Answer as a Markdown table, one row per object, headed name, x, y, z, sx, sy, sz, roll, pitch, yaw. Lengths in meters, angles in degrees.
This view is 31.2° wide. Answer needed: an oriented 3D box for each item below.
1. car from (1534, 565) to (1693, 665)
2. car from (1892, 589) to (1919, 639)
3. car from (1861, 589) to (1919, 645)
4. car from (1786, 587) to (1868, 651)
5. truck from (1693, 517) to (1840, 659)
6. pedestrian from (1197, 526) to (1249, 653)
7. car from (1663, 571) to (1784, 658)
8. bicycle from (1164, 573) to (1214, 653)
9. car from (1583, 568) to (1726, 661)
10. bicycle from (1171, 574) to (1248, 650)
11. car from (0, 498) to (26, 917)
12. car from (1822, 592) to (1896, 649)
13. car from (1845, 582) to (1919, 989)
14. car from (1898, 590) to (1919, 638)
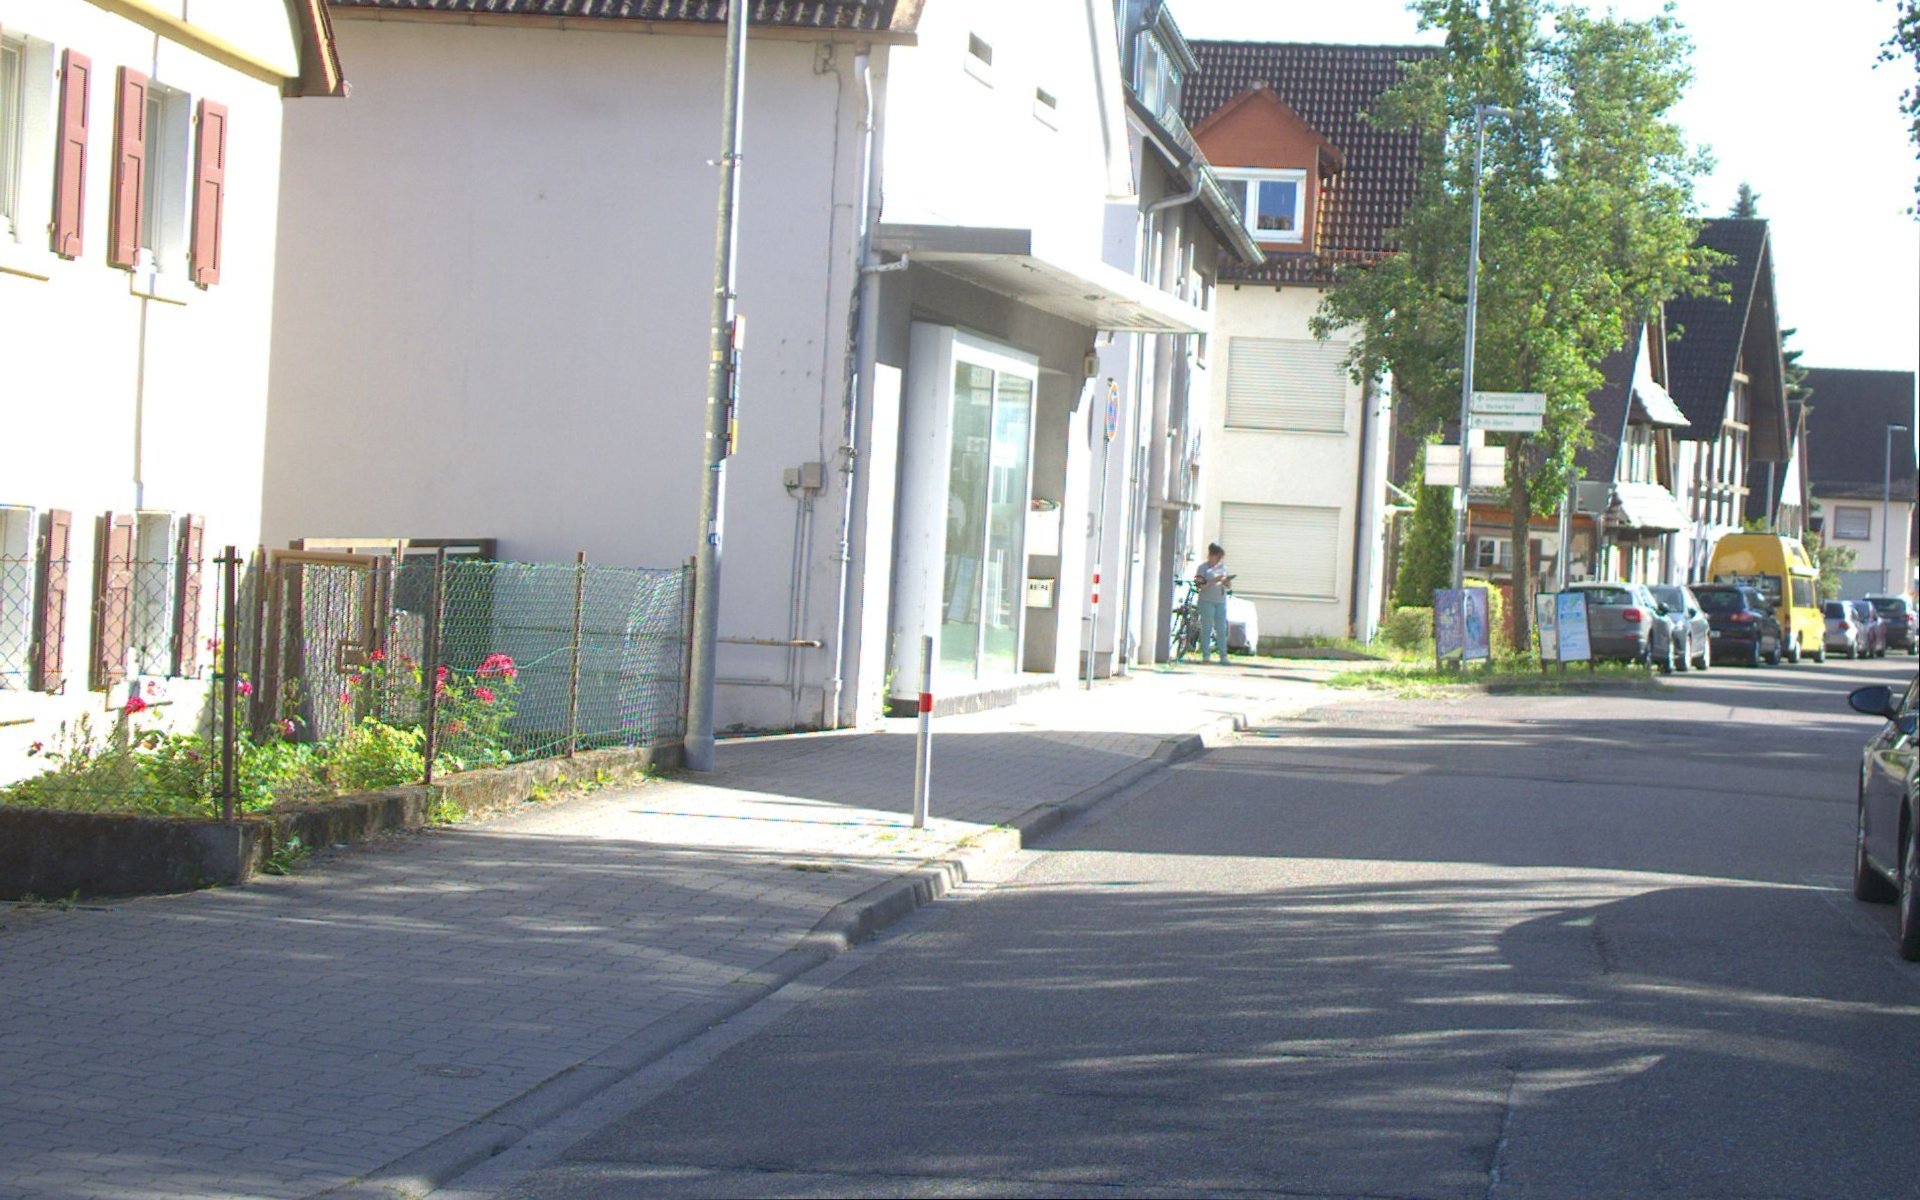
| name | x | y | z | sx | sy | sz | roll | pitch | yaw |
| --- | --- | --- | --- | --- | --- | --- | --- | --- | --- |
| car | 10.921 | 0.257 | 57.235 | 1.869 | 1.500 | 4.103 | 3 | 1 | 20 |
| car | 28.688 | 0.438 | 102.329 | 1.589 | 1.438 | 3.611 | 4 | 1 | 17 |
| car | 26.004 | 0.475 | 95.569 | 1.589 | 1.438 | 3.611 | 4 | 1 | 17 |
| car | 21.016 | 0.454 | 83.255 | 1.647 | 1.428 | 3.611 | 4 | 1 | 17 |
| truck | 17.629 | -0.236 | 74.919 | 2.270 | 2.858 | 5.776 | 3 | 1 | 20 |
| pedestrian | 3.577 | -0.137 | 46.742 | 0.484 | 1.687 | 0.556 | 4 | -1 | 15 |
| car | 15.509 | 0.299 | 69.733 | 1.808 | 1.616 | 3.876 | 3 | 1 | 20 |
| bicycle | 3.113 | 0.186 | 46.676 | 0.423 | 1.049 | 1.380 | 3 | 0 | 12 |
| car | 12.428 | 0.273 | 61.356 | 1.808 | 1.500 | 4.103 | 3 | 1 | 20 |
| bicycle | 3.647 | 0.188 | 50.052 | 0.578 | 1.049 | 2.034 | 3 | 0 | 19 |
| car | -5.470 | 0.359 | 11.457 | 4.159 | 1.457 | 1.848 | 1 | 1 | 6 |
| car | 22.899 | 0.512 | 87.501 | 1.589 | 1.331 | 3.611 | 4 | 1 | 17 |
| car | 4.800 | 0.720 | 14.464 | 1.808 | 1.431 | 4.283 | 4 | 2 | 12 |
| car | 30.076 | 0.463 | 106.764 | 1.589 | 1.438 | 3.611 | 4 | 1 | 17 |
